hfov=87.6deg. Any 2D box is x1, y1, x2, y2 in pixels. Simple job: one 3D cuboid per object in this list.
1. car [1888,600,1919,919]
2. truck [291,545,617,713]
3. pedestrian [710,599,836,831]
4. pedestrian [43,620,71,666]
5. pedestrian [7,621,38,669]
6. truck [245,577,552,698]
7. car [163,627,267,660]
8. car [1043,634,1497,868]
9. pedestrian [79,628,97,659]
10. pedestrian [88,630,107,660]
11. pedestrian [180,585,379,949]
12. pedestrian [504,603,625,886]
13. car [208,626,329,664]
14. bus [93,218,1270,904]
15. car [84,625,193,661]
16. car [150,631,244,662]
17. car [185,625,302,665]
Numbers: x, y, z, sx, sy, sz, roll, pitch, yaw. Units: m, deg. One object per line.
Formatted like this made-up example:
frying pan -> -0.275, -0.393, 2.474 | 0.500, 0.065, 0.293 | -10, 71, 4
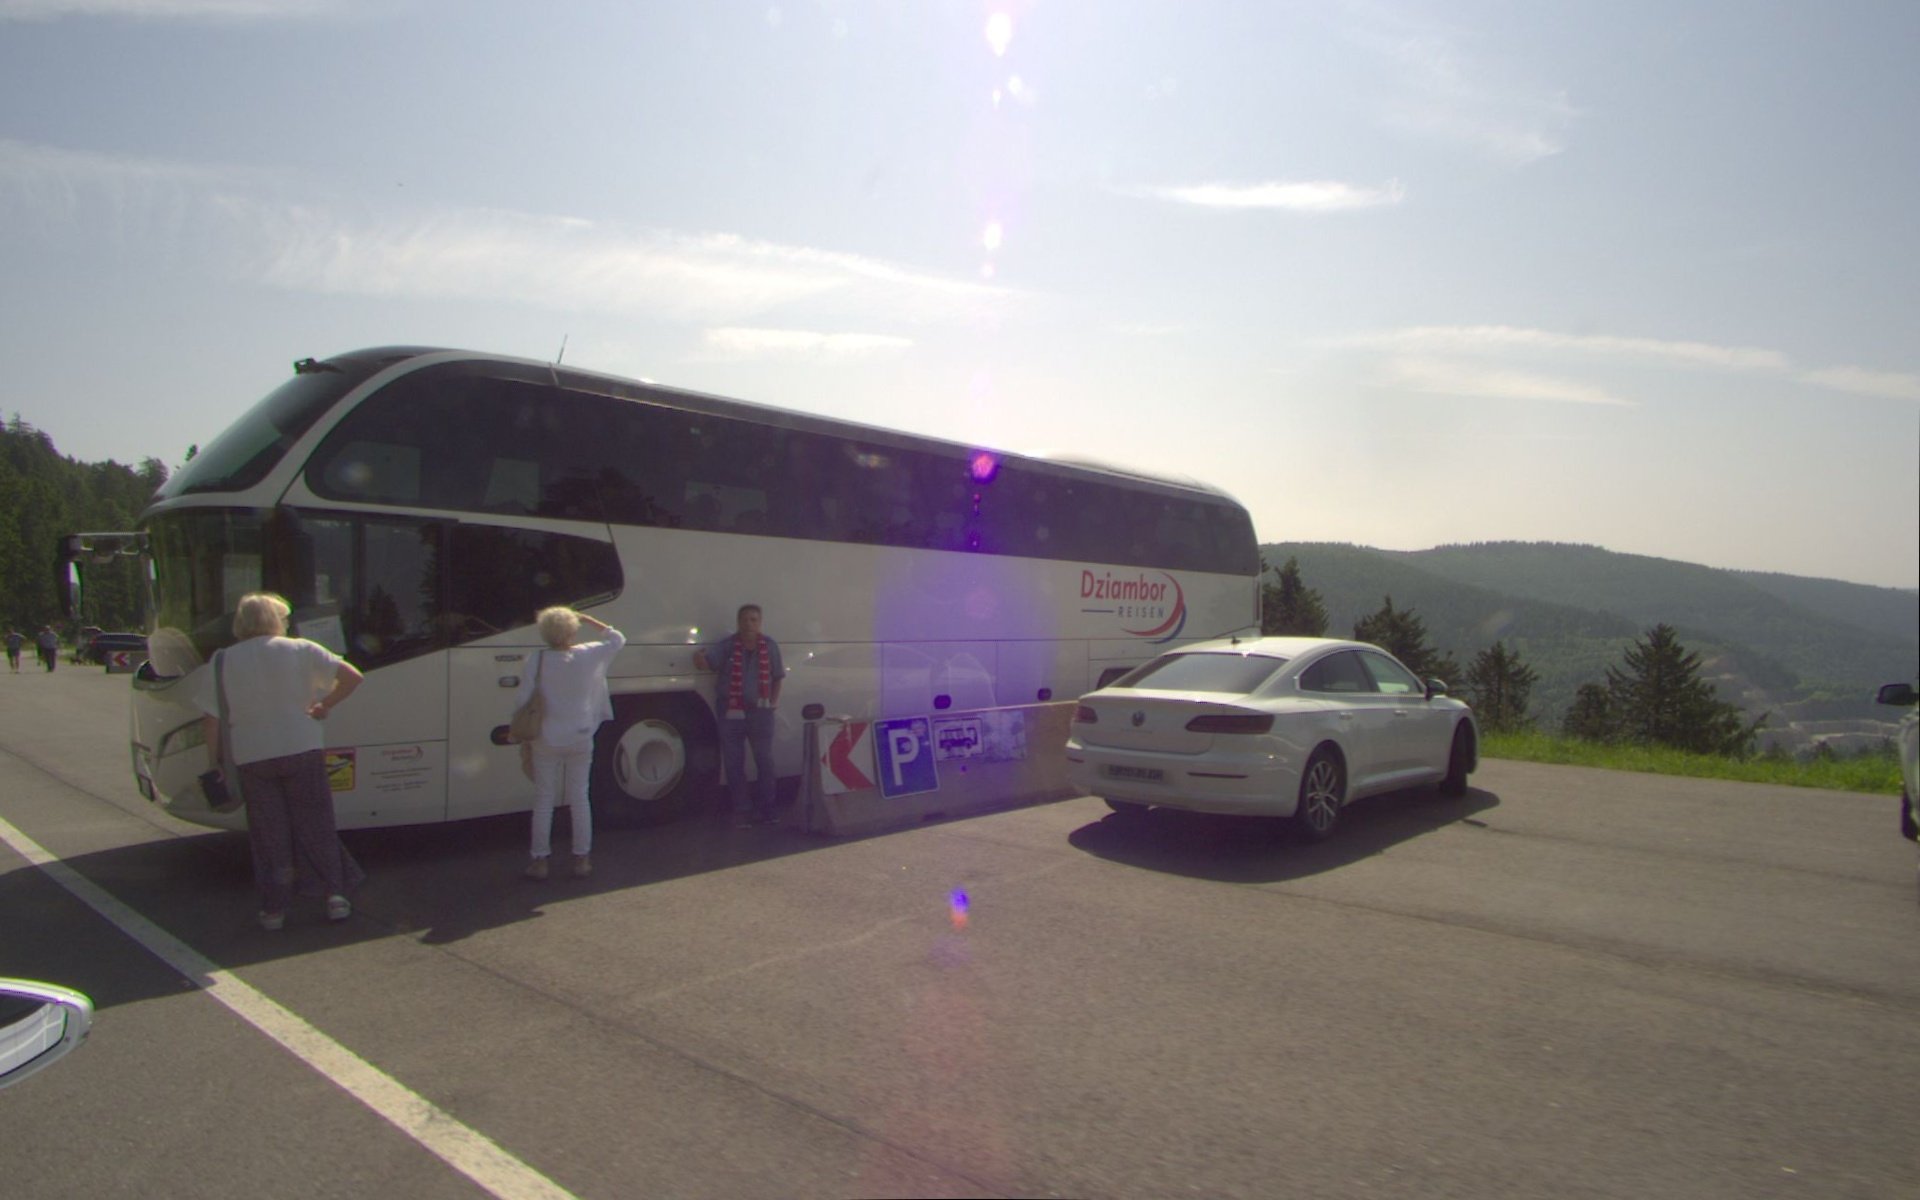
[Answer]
car -> 6.521, 0.830, 5.655 | 1.747, 1.594, 3.968 | -1, -2, 41
truck -> -11.079, 0.622, 22.399 | 2.504, 3.237, 6.034 | -1, -1, 41
pedestrian -> -1.435, 0.828, 7.673 | 0.737, 1.665, 0.640 | 1, 1, 44
pedestrian -> -35.127, 1.644, 38.959 | 0.658, 1.764, 0.889 | 0, 0, -33
pedestrian -> -35.985, 1.713, 38.434 | 0.746, 1.783, 0.770 | 0, 0, -33
truck -> -13.622, 0.853, 24.688 | 2.315, 2.625, 6.226 | 0, -1, 43
car -> -38.061, 2.205, 51.227 | 1.784, 1.556, 3.971 | 3, 1, 39
car -> 2.769, 0.998, 8.280 | 4.396, 1.414, 1.702 | 2, -2, -44
pedestrian -> -47.941, 2.396, 55.039 | 0.646, 1.683, 0.683 | -1, 1, -33
pedestrian -> -46.979, 2.430, 54.526 | 0.609, 1.609, 0.732 | -1, 1, -27
pedestrian -> -3.393, 0.770, 5.062 | 0.698, 1.664, 0.742 | -1, -1, -25
pedestrian -> -2.423, 0.826, 6.167 | 0.635, 1.617, 0.742 | -1, 1, -21
car -> -29.822, 1.963, 43.266 | 1.753, 1.494, 3.971 | -1, -4, 40
bus -> -0.890, -0.123, 10.914 | 2.809, 3.624, 12.773 | -1, -1, 43
car -> -44.047, 2.290, 53.748 | 1.870, 1.816, 4.245 | -2, -2, 40
car -> -40.755, 2.474, 53.541 | 1.580, 1.587, 3.739 | -1, -2, 37
car -> -32.056, 2.036, 44.877 | 1.581, 1.667, 3.973 | -1, -4, 39
